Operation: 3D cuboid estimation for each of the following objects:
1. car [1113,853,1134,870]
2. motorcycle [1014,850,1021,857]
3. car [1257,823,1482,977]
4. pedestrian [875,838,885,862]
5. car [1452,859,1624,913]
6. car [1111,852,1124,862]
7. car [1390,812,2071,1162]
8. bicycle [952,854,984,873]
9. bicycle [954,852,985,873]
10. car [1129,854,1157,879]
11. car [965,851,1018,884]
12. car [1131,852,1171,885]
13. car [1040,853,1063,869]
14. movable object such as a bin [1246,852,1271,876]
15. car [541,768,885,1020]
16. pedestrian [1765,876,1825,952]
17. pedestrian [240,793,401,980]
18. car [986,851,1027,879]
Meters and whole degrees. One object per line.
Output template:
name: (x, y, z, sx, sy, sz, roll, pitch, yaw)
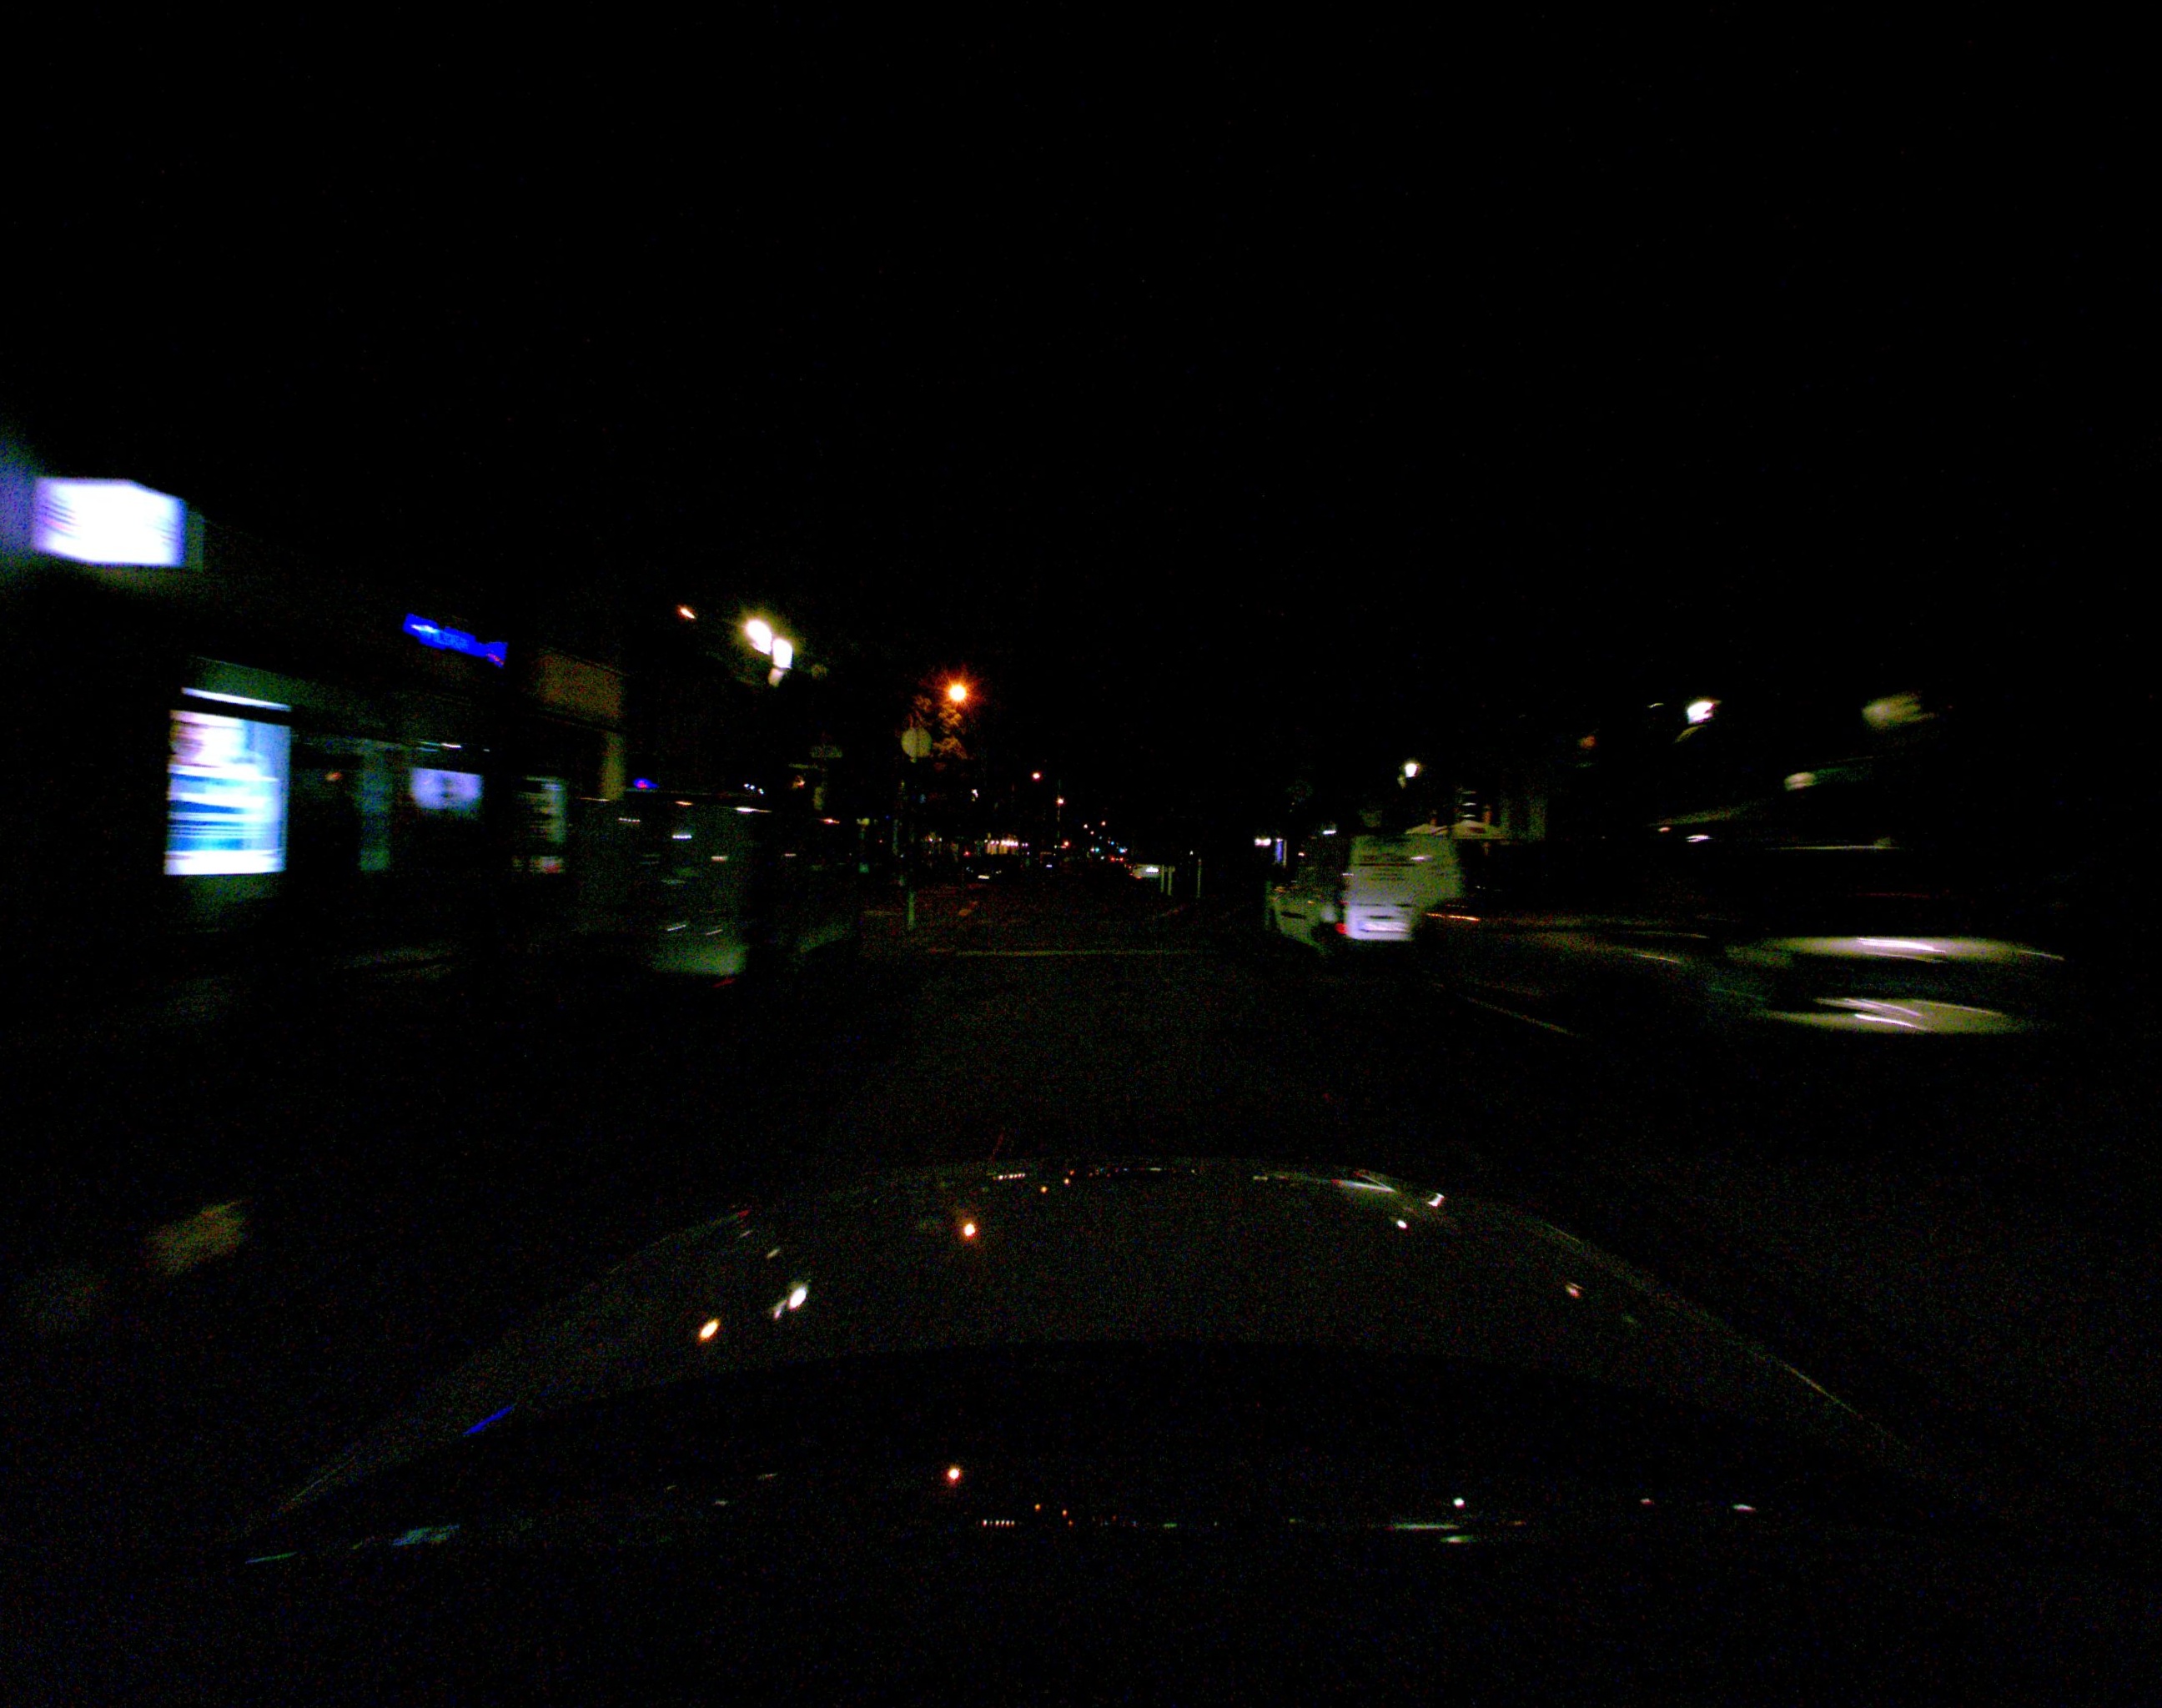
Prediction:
car: (3.778, 0.672, 72.205, 1.757, 1.414, 4.811, 1, 0, 3)
motorcycle: (-8.939, -0.053, 114.711, 0.475, 1.020, 1.681, 2, 0, 13)
car: (3.965, 0.544, 12.084, 1.782, 1.822, 4.581, 1, 0, 1)
pedestrian: (-13.622, -0.277, 55.234, 0.476, 1.636, 0.632, 1, 0, 3)
car: (13.958, 0.974, 25.057, 4.300, 1.532, 1.803, 1, -1, 1)
car: (6.071, 0.504, 135.470, 1.986, 1.643, 4.002, 1, 0, 2)
car: (3.950, 0.635, 6.075, 1.678, 1.659, 4.297, 1, 0, 0)
bicycle: (-6.947, 0.598, 50.068, 1.844, 1.035, 0.533, 3, 0, 1)
bicycle: (-6.928, 0.504, 50.664, 1.844, 1.254, 0.533, 1, 0, 1)
car: (4.020, 0.786, 53.389, 1.683, 1.537, 4.018, 1, 0, 3)
car: (-4.355, 0.606, 40.260, 1.799, 1.425, 4.924, 3, 0, 2)
car: (3.361, 0.656, 39.641, 1.763, 1.537, 4.219, 0, 0, 3)
car: (-2.826, 0.613, 78.009, 1.734, 1.413, 4.499, 2, 0, 3)
movable object such as a bin: (10.139, 0.566, 46.607, 1.156, 1.371, 0.993, 2, 0, 0)
car: (-3.786, 0.343, 9.600, 1.848, 2.087, 5.085, 3, 0, -3)
pedestrian: (12.527, 1.031, 14.305, 0.675, 1.264, 0.532, 1, 0, 30)
pedestrian: (-7.395, 0.296, 7.965, 0.666, 1.719, 0.909, 1, 0, 2)
car: (-4.206, 0.602, 46.415, 1.715, 1.428, 3.979, 3, 0, 2)
